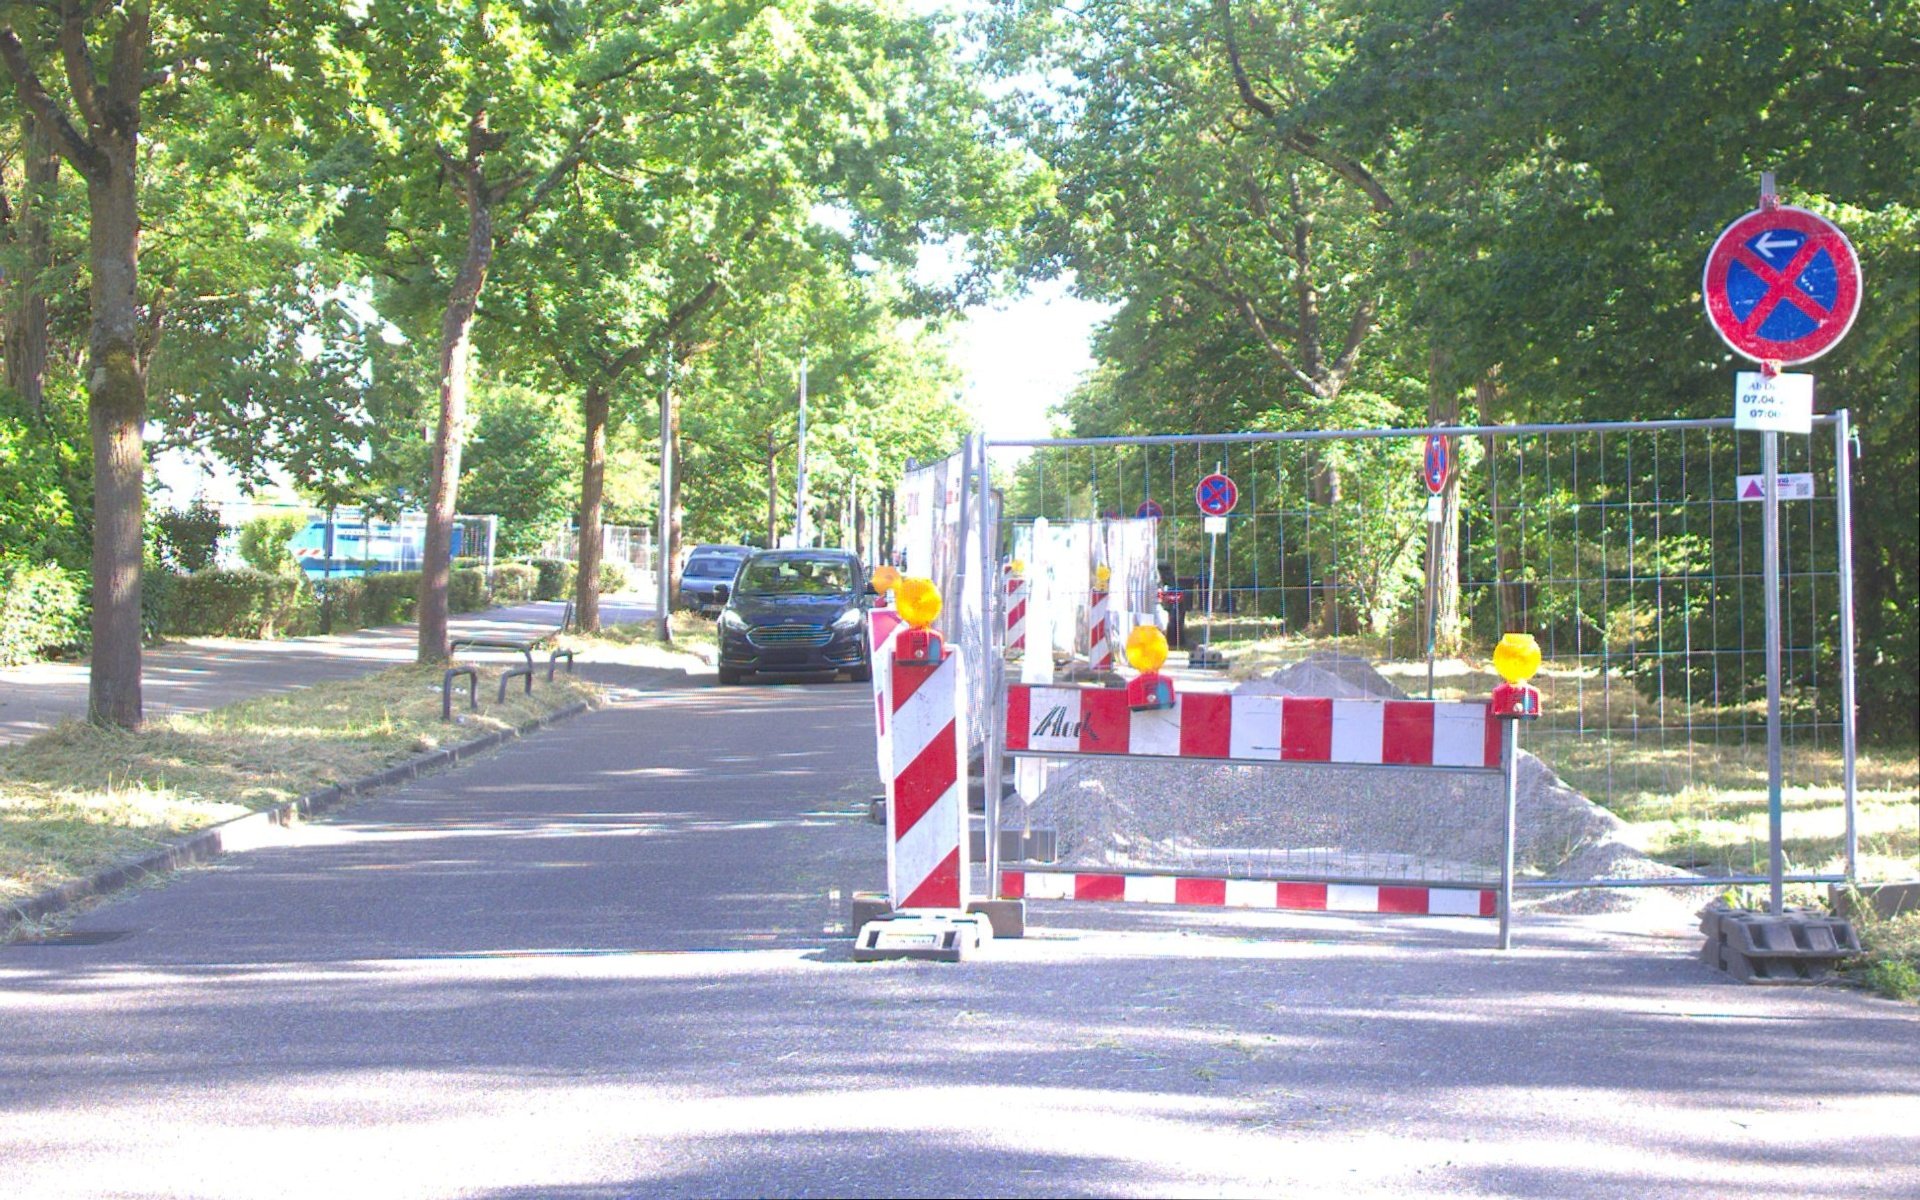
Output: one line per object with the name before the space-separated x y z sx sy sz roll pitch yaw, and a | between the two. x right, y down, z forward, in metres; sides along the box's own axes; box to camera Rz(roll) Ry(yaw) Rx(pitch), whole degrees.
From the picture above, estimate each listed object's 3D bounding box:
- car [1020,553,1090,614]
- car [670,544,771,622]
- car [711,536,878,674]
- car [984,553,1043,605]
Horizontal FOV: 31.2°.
car | 2.128 -0.373 77.608 1.361 1.298 3.481 2 0 -2
car | -4.707 -0.352 67.969 1.751 1.473 3.836 1 1 -1
car | -2.031 0.025 43.304 1.821 1.619 4.492 -1 1 1
car | 1.386 -0.558 90.589 1.361 1.298 3.481 2 0 -2
